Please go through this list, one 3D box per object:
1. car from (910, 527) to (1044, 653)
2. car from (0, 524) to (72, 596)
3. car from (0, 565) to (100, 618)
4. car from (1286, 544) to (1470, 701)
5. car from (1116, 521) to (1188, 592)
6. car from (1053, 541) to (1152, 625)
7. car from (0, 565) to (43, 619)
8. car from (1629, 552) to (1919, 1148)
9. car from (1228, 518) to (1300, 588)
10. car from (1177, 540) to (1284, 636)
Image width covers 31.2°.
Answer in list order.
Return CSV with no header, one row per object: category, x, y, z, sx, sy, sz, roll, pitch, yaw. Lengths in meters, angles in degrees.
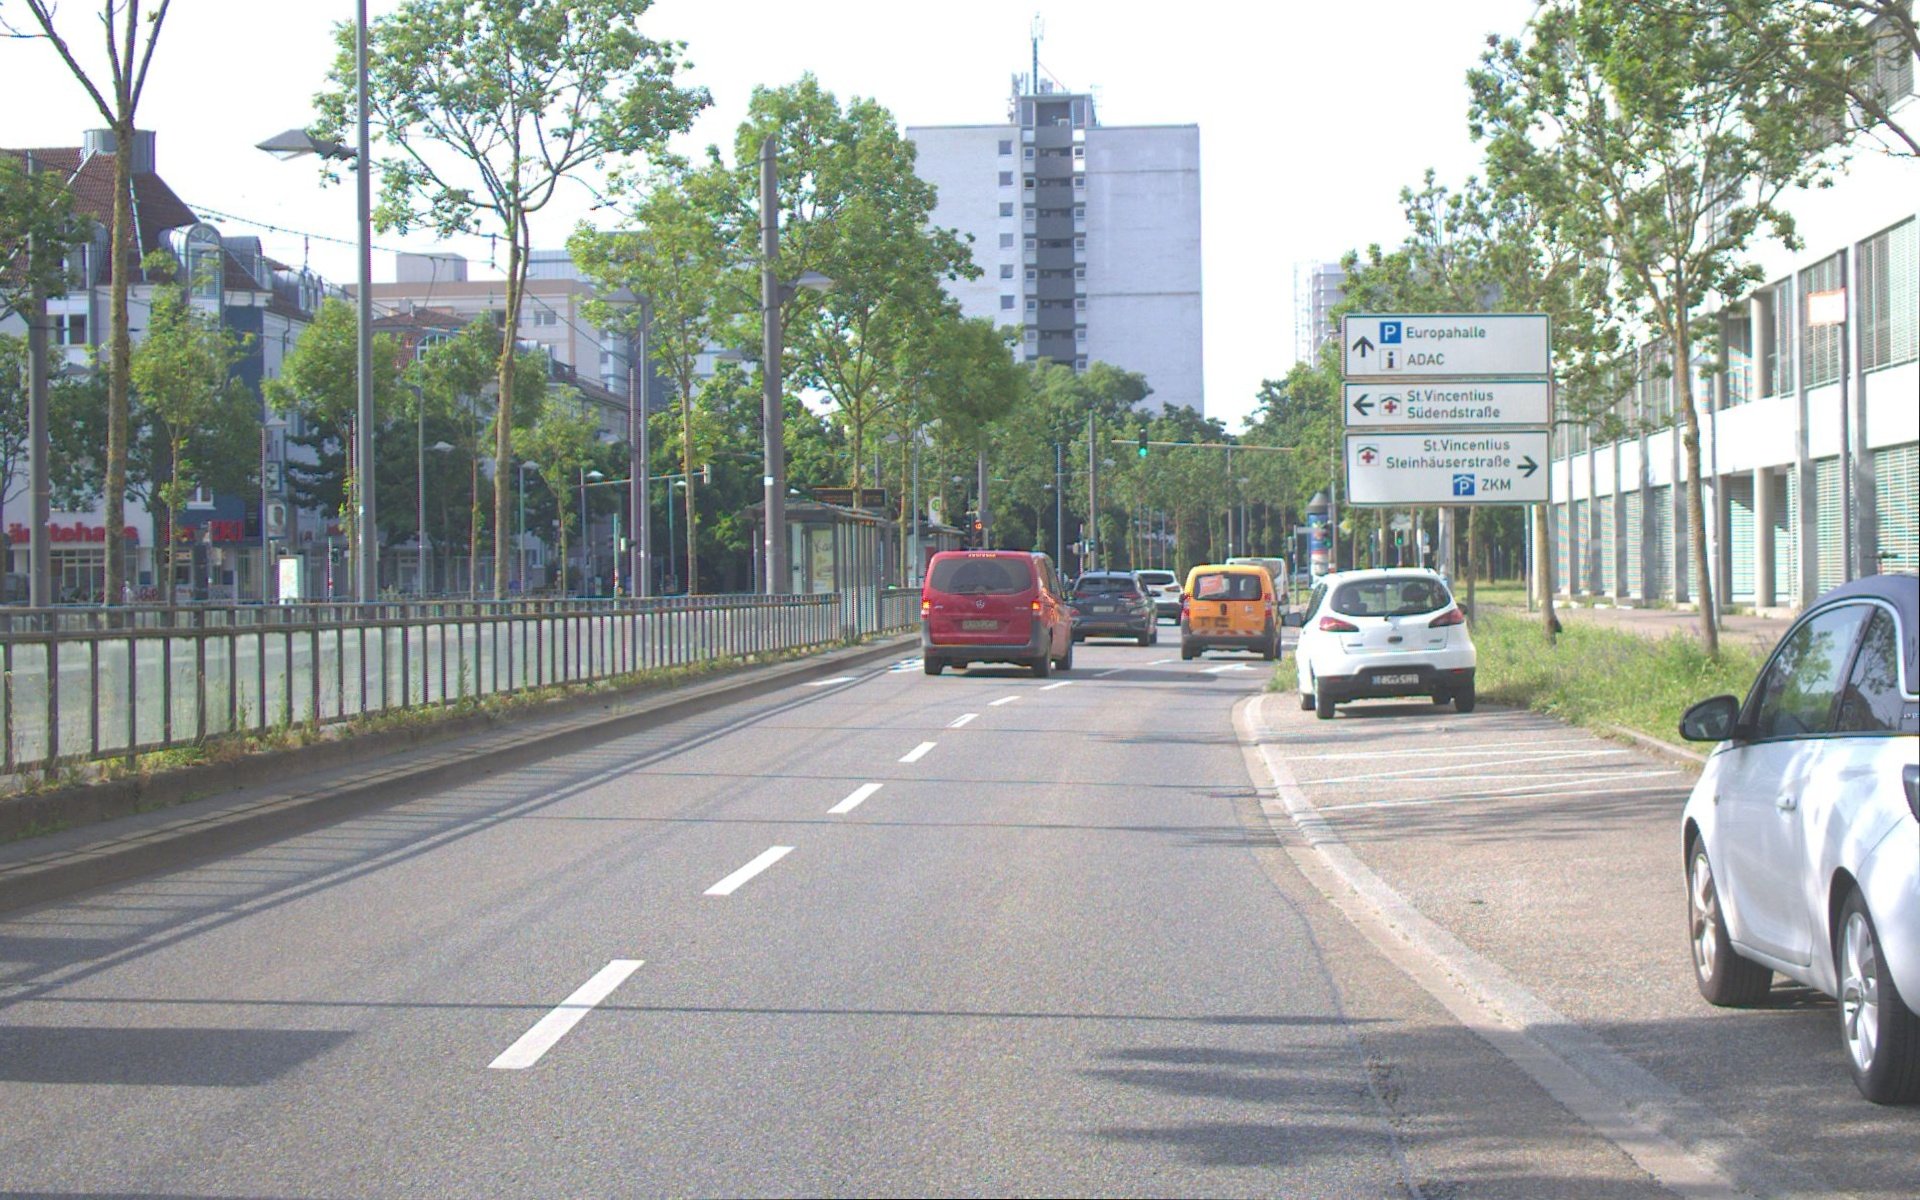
car,0.297,-0.175,52.386,1.874,1.847,4.000,0,1,3
car,-27.759,-1.167,99.700,2.366,2.023,5.311,-1,1,3
car,-22.909,-0.216,82.561,3.991,1.240,1.938,0,1,19
car,4.419,0.204,36.745,1.689,1.521,3.850,-2,1,4
car,5.554,-1.279,99.790,1.994,2.007,4.000,-1,1,3
car,3.056,-0.388,73.185,1.994,1.700,4.000,-1,1,4
car,-23.660,-0.188,80.201,3.991,1.240,1.938,0,1,19
car,3.250,0.624,10.800,1.720,1.514,3.781,-1,1,3
car,8.912,-1.401,101.053,1.994,2.007,4.000,-1,1,4
car,4.925,-0.234,62.729,1.876,1.690,3.973,0,1,4
